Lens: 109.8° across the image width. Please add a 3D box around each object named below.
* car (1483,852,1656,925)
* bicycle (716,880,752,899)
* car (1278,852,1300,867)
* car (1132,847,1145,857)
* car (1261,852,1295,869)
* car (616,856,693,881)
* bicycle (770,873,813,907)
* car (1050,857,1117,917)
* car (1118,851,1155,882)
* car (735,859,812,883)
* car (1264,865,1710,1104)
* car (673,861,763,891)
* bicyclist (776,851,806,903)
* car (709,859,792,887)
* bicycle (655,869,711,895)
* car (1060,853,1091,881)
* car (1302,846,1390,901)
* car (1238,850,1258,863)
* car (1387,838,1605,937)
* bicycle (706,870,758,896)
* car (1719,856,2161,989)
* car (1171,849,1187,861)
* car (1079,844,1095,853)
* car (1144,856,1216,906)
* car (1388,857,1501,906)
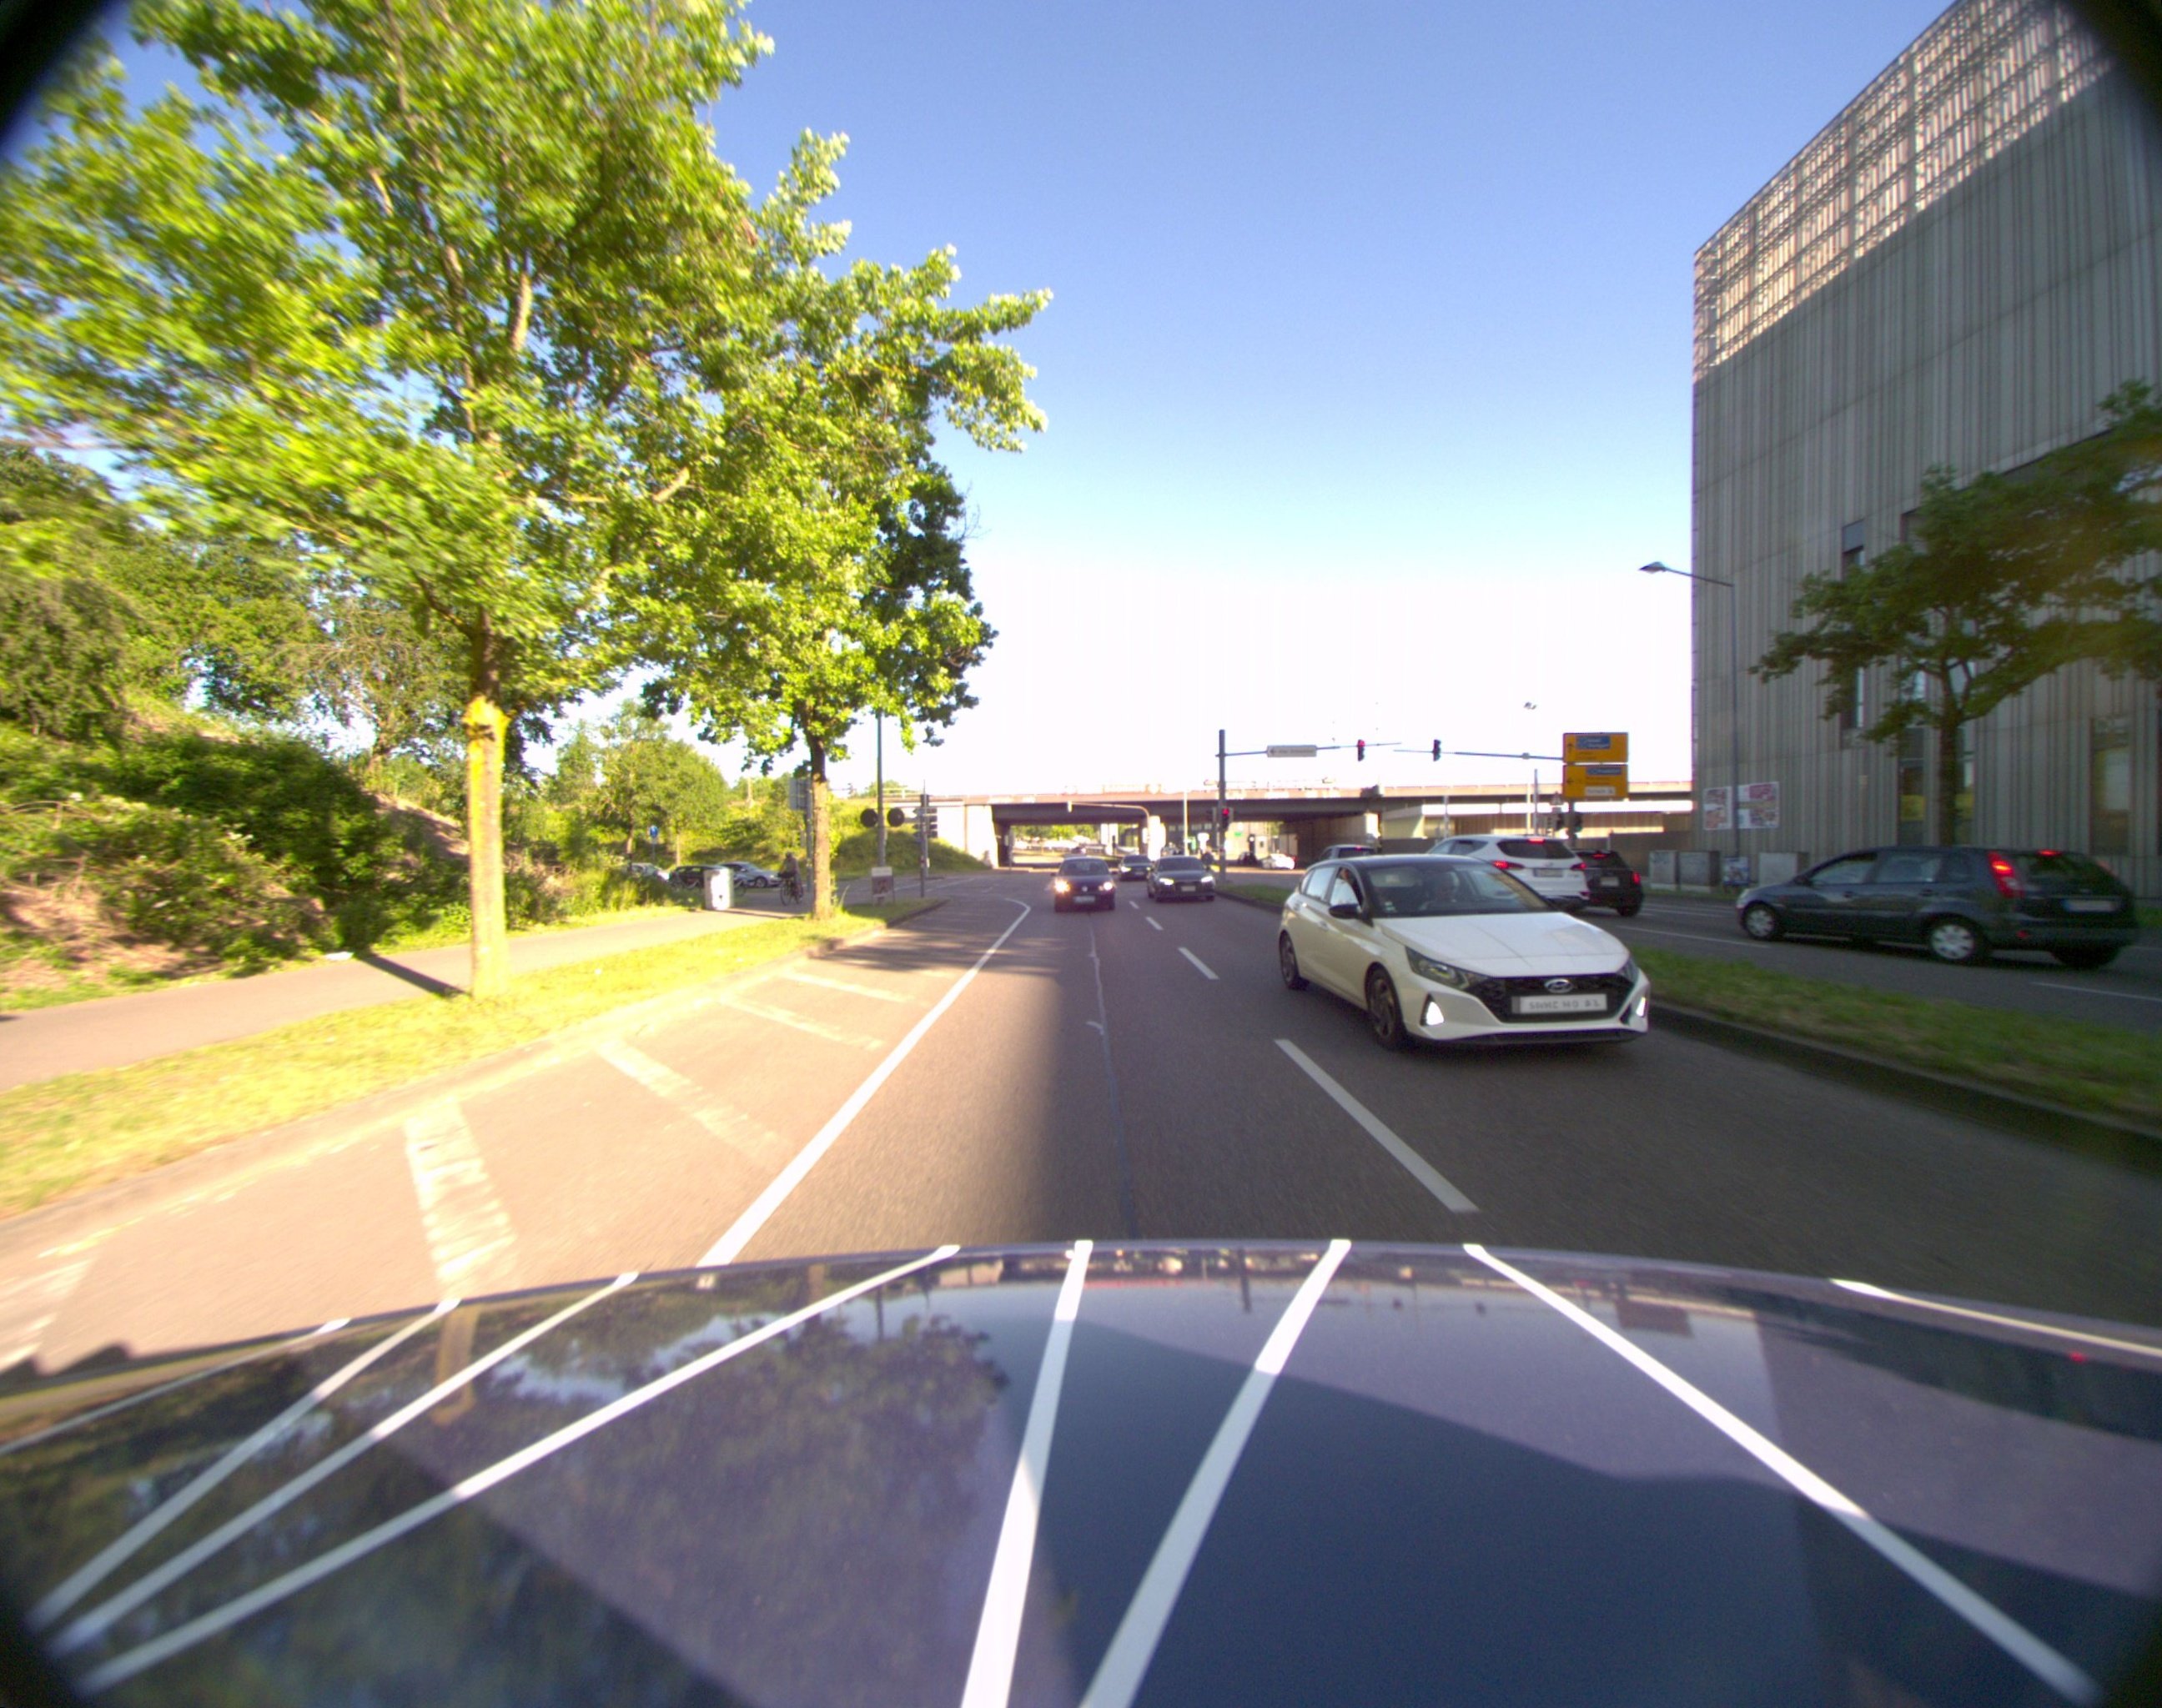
[{"bbox_3d":[10.999,0.702,17.417,1.624,1.461,3.640,1,0,1],"label":"car"},{"bbox_3d":[-12.856,1.296,28.131,0.844,0.618,2.190,1,-1,-34],"label":"bicycle"},{"bbox_3d":[20.817,0.559,76.182,1.493,1.403,3.939,0,0,5],"label":"car"},{"bbox_3d":[9.288,-0.377,123.653,1.727,1.531,3.999,1,0,0],"label":"car"},{"bbox_3d":[17.289,0.541,66.993,1.707,1.433,4.880,1,0,0],"label":"car"},{"bbox_3d":[-26.995,0.904,48.121,3.996,1.424,1.590,-1,2,3],"label":"car"},{"bbox_3d":[-9.139,1.116,24.045,0.573,0.986,2.046,-1,0,0],"label":"bicycle"},{"bbox_3d":[0.056,0.866,21.667,1.702,1.474,4.052,-2,0,0],"label":"car"},{"bbox_3d":[2.933,0.631,40.808,1.702,1.528,3.946,-1,0,0],"label":"car"},{"bbox_3d":[-19.195,1.056,47.542,3.995,1.424,1.816,-1,2,4],"label":"car"},{"bbox_3d":[3.058,0.852,6.831,1.783,1.400,4.074,-1,0,-1],"label":"car"},{"bbox_3d":[-19.846,1.192,41.632,3.995,1.467,1.805,-1,2,4],"label":"car"},{"bbox_3d":[-9.142,0.716,23.980,0.566,1.600,0.865,-1,1,0],"label":"bicyclist"},{"bbox_3d":[-19.153,1.087,44.144,3.995,1.467,1.817,-1,2,5],"label":"car"},{"bbox_3d":[-17.211,1.218,32.828,2.259,1.099,0.700,0,-2,15],"label":"bicycle"},{"bbox_3d":[-0.327,0.720,44.241,1.702,1.478,3.946,-1,0,0],"label":"car"},{"bbox_3d":[8.078,0.559,23.447,1.605,1.571,3.212,1,0,1],"label":"car"},{"bbox_3d":[20.013,0.315,91.116,1.571,1.524,3.426,0,0,0],"label":"car"},{"bbox_3d":[8.105,0.565,15.456,1.828,1.672,4.658,1,0,0],"label":"car"},{"bbox_3d":[-14.033,1.165,30.550,1.993,1.046,0.455,-1,1,12],"label":"bicycle"},{"bbox_3d":[11.123,0.748,10.145,1.840,1.415,4.000,1,0,0],"label":"car"},{"bbox_3d":[13.051,0.170,101.220,1.632,1.531,4.000,1,0,1],"label":"car"},{"bbox_3d":[1.154,-0.984,148.144,1.818,1.687,3.993,-2,1,-20],"label":"car"},{"bbox_3d":[3.084,0.782,24.350,1.702,1.396,4.364,-1,0,0],"label":"car"},{"bbox_3d":[11.416,0.812,24.164,1.707,1.432,3.753,1,0,-1],"label":"car"}]
